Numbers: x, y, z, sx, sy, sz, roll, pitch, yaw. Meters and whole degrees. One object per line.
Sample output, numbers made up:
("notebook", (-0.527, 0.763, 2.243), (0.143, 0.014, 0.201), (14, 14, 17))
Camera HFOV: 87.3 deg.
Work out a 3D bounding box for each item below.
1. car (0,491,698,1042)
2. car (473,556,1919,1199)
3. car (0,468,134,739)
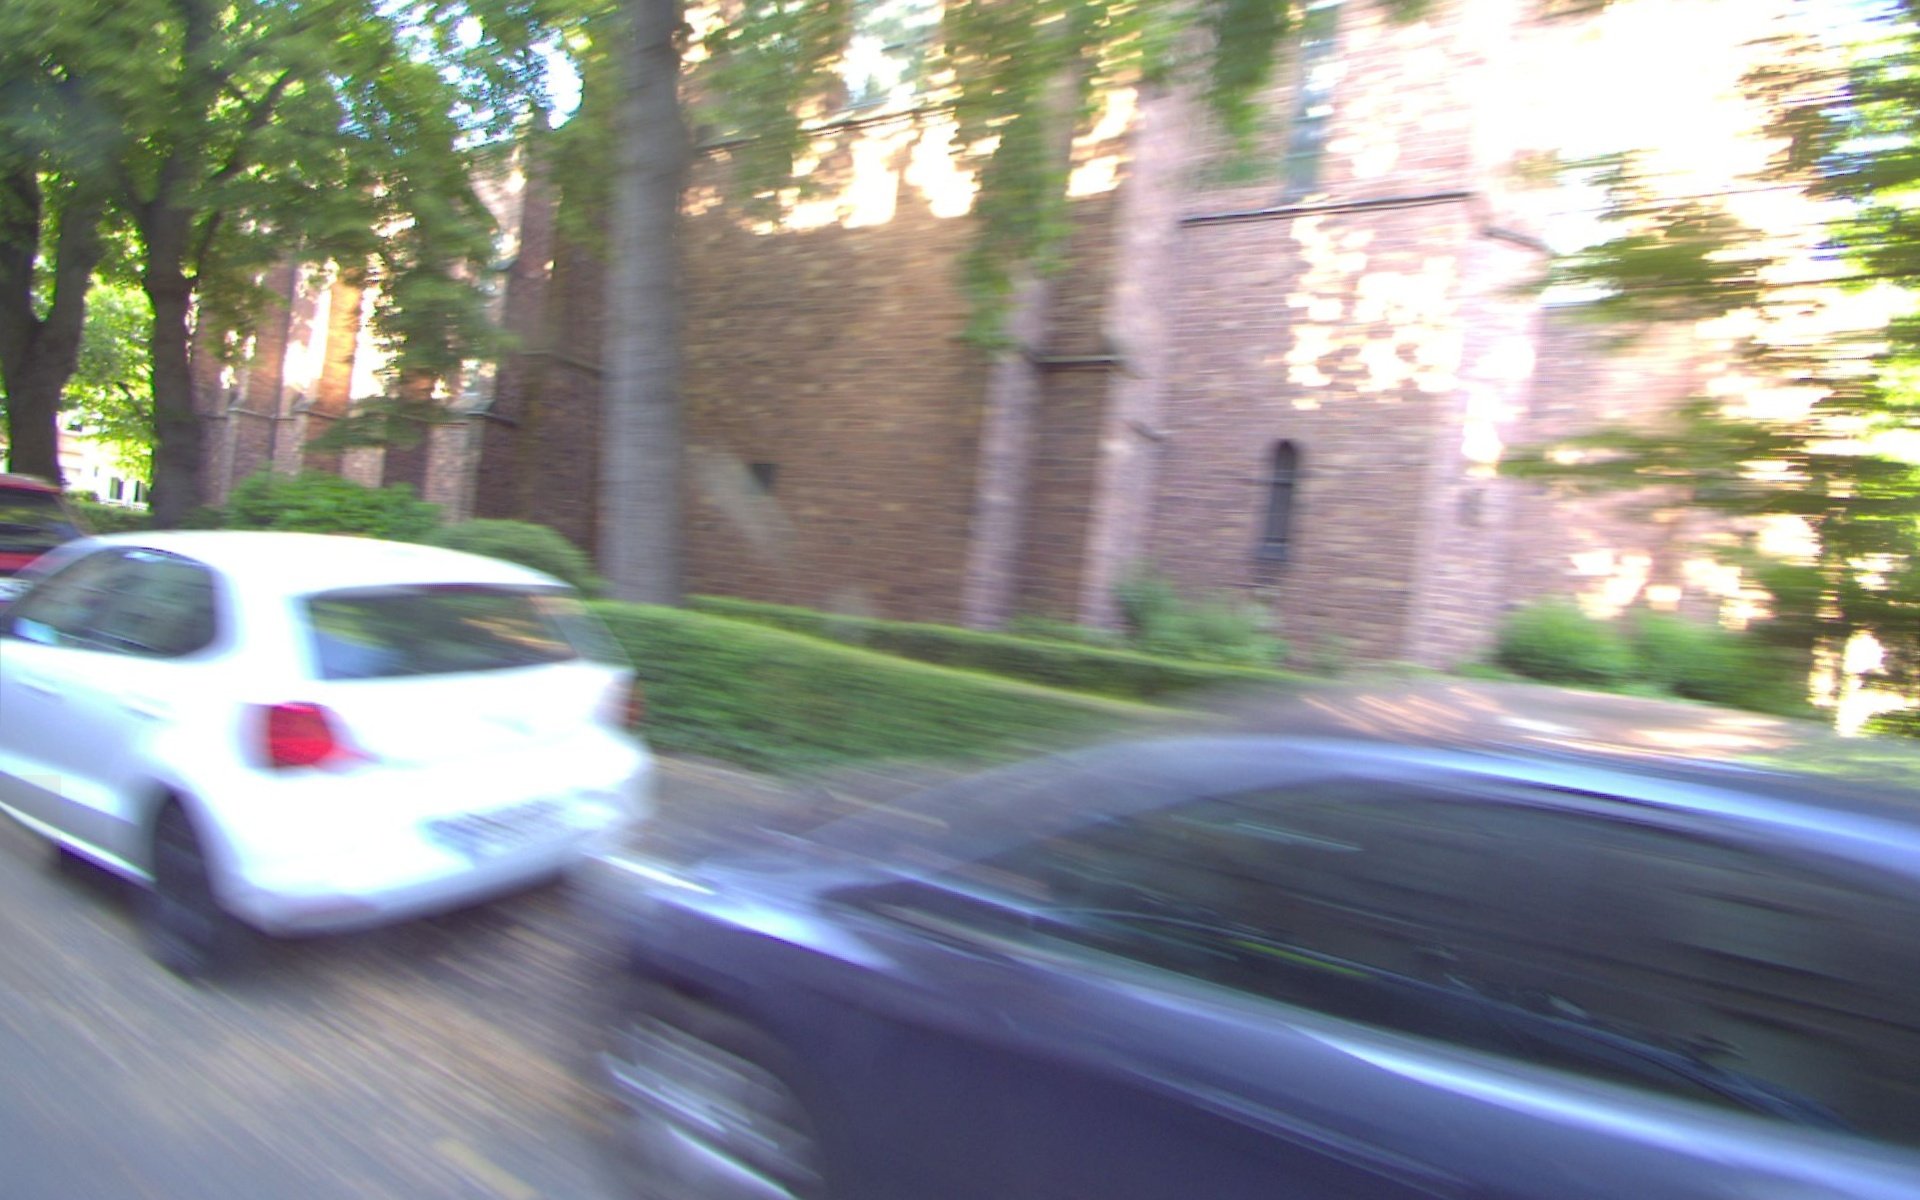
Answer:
("car", (-3.265, 0.366, 4.627), (3.885, 1.541, 1.664), (6, 4, 30))
("car", (0.839, 0.830, 2.315), (3.994, 1.541, 1.663), (6, 4, 33))
("car", (-7.444, -0.155, 6.894), (4.034, 1.608, 1.662), (6, 4, 34))
